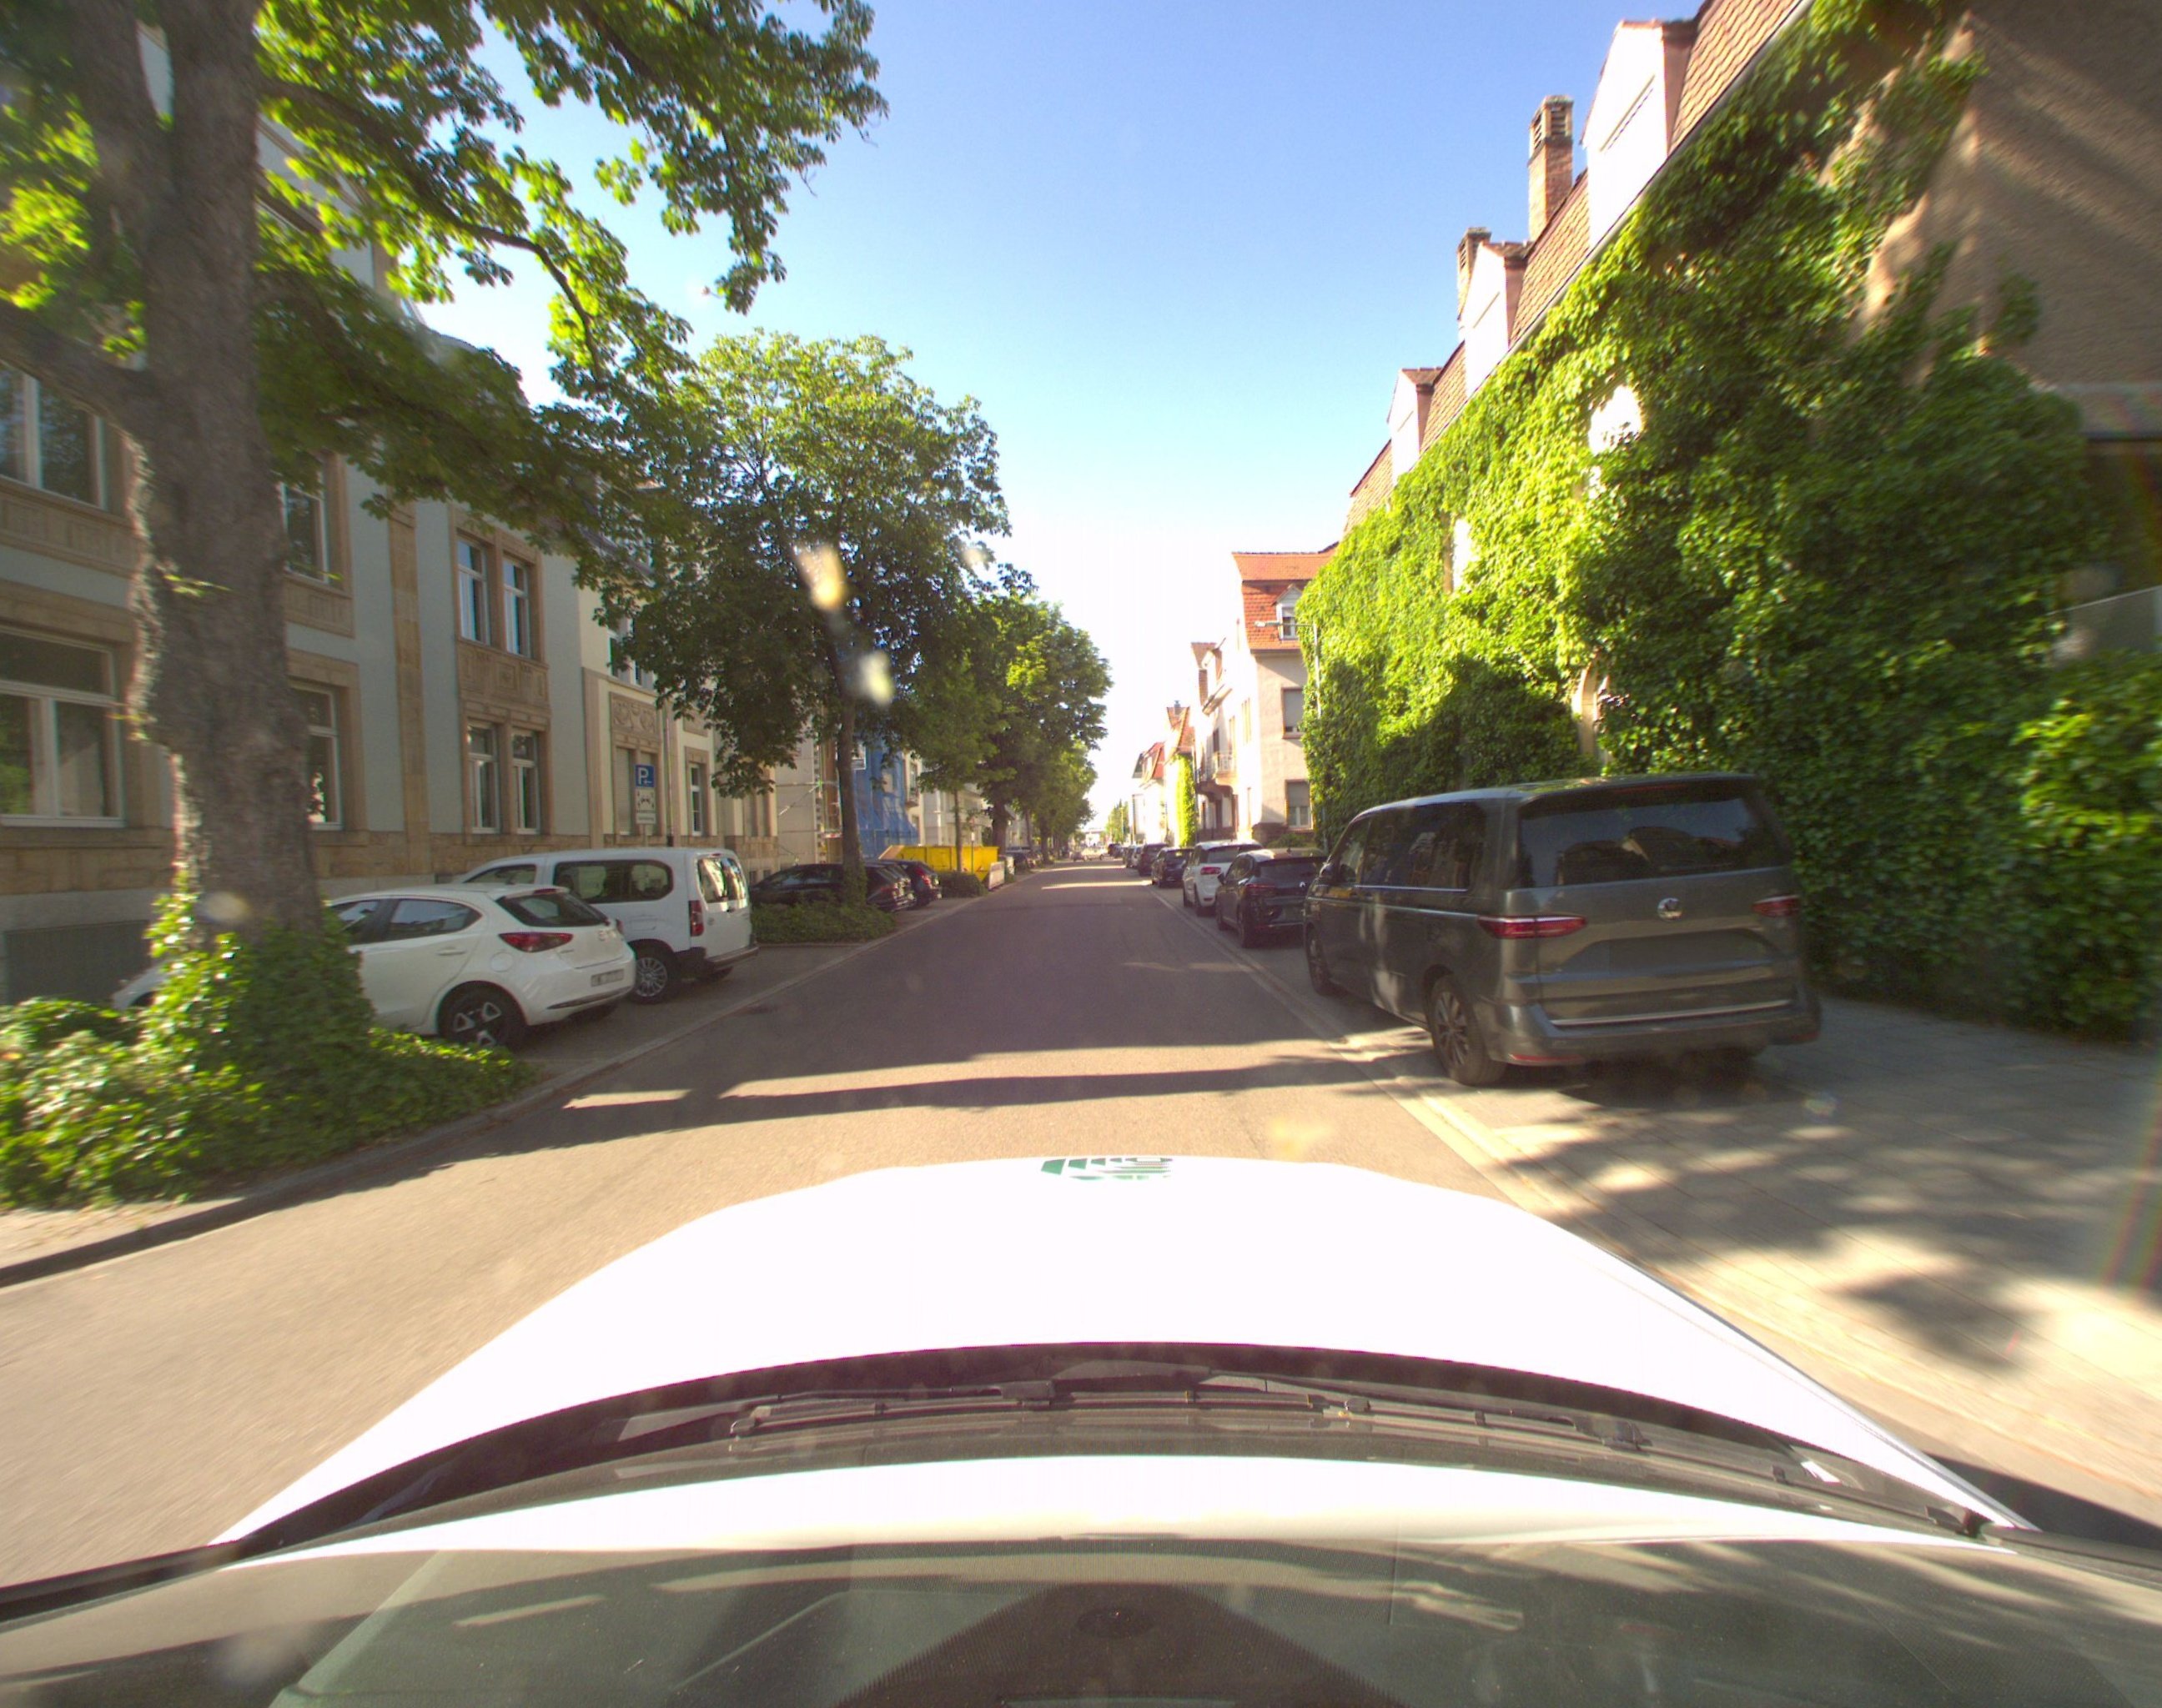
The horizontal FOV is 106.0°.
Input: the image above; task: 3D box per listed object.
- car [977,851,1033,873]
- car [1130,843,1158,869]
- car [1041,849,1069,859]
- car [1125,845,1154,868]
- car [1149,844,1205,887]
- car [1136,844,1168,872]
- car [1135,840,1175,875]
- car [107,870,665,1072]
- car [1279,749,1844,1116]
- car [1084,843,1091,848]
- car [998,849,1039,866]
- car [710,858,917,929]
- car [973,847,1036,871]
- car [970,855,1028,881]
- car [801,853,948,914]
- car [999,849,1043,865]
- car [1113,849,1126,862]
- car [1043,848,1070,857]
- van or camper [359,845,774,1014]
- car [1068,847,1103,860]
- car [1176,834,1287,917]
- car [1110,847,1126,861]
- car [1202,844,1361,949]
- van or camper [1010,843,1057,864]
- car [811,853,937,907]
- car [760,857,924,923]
[{"bbox_3d":[-5.898,0.603,63.357,4.175,1.441,1.712,-2,1,-1],"label":"car"},{"bbox_3d":[4.109,0.161,53.508,1.570,1.549,3.468,-4,-1,1],"label":"car"},{"bbox_3d":[-3.951,-0.009,123.158,4.172,1.448,1.713,0,-1,2],"label":"car"},{"bbox_3d":[4.127,0.169,57.806,1.703,1.436,4.193,-4,-1,1],"label":"car"},{"bbox_3d":[3.512,0.379,30.510,1.638,1.454,4.504,-2,1,1],"label":"car"},{"bbox_3d":[4.051,0.222,46.944,1.619,1.549,2.869,-1,-1,0],"label":"car"},{"bbox_3d":[3.726,0.183,41.763,1.771,1.696,4.321,0,-1,1],"label":"car"},{"bbox_3d":[-6.288,1.000,7.726,3.713,1.516,1.721,-2,1,-1],"label":"car"},{"bbox_3d":[3.204,0.399,6.848,1.846,1.909,4.851,-3,1,0],"label":"car"},{"bbox_3d":[2.102,-2.658,258.272,1.784,1.532,3.993,-2,1,-5],"label":"car"},{"bbox_3d":[-5.560,0.316,73.071,3.465,1.458,1.798,-1,0,1],"label":"car"},{"bbox_3d":[-6.021,0.878,18.662,4.125,1.401,1.710,-2,1,0],"label":"car"},{"bbox_3d":[-5.743,0.346,60.831,4.587,1.607,1.828,-3,1,-9],"label":"car"},{"bbox_3d":[-5.696,0.946,56.477,3.869,1.514,1.828,-4,0,-8],"label":"car"},{"bbox_3d":[-5.952,0.836,23.753,3.712,1.464,1.715,-3,1,1],"label":"car"},{"bbox_3d":[-5.532,0.278,75.528,3.911,1.414,1.715,-1,1,-2],"label":"car"},{"bbox_3d":[5.851,0.201,125.331,1.864,1.905,5.200,-3,0,2],"label":"car"},{"bbox_3d":[-4.145,-0.216,138.484,4.461,1.479,1.868,-1,-1,-1],"label":"car"},{"bbox_3d":[-6.206,0.849,10.202,3.931,1.773,1.809,-2,1,0],"label":"van or camper"},{"bbox_3d":[0.505,-0.036,89.251,1.710,1.420,3.985,-1,-1,39],"label":"car"},{"bbox_3d":[3.377,0.424,19.062,1.860,1.644,4.200,-3,0,1],"label":"car"},{"bbox_3d":[4.343,0.019,96.074,1.615,1.439,3.933,-5,1,-1],"label":"car"},{"bbox_3d":[3.156,0.586,13.602,1.631,1.421,4.009,-3,1,0],"label":"car"},{"bbox_3d":[-4.714,-0.088,81.262,4.482,1.914,1.964,-2,0,0],"label":"van or camper"},{"bbox_3d":[-6.672,0.818,26.444,3.537,1.448,1.696,-3,0,1],"label":"car"},{"bbox_3d":[-6.208,0.916,21.454,3.734,1.431,1.646,-3,0,0],"label":"car"}]
